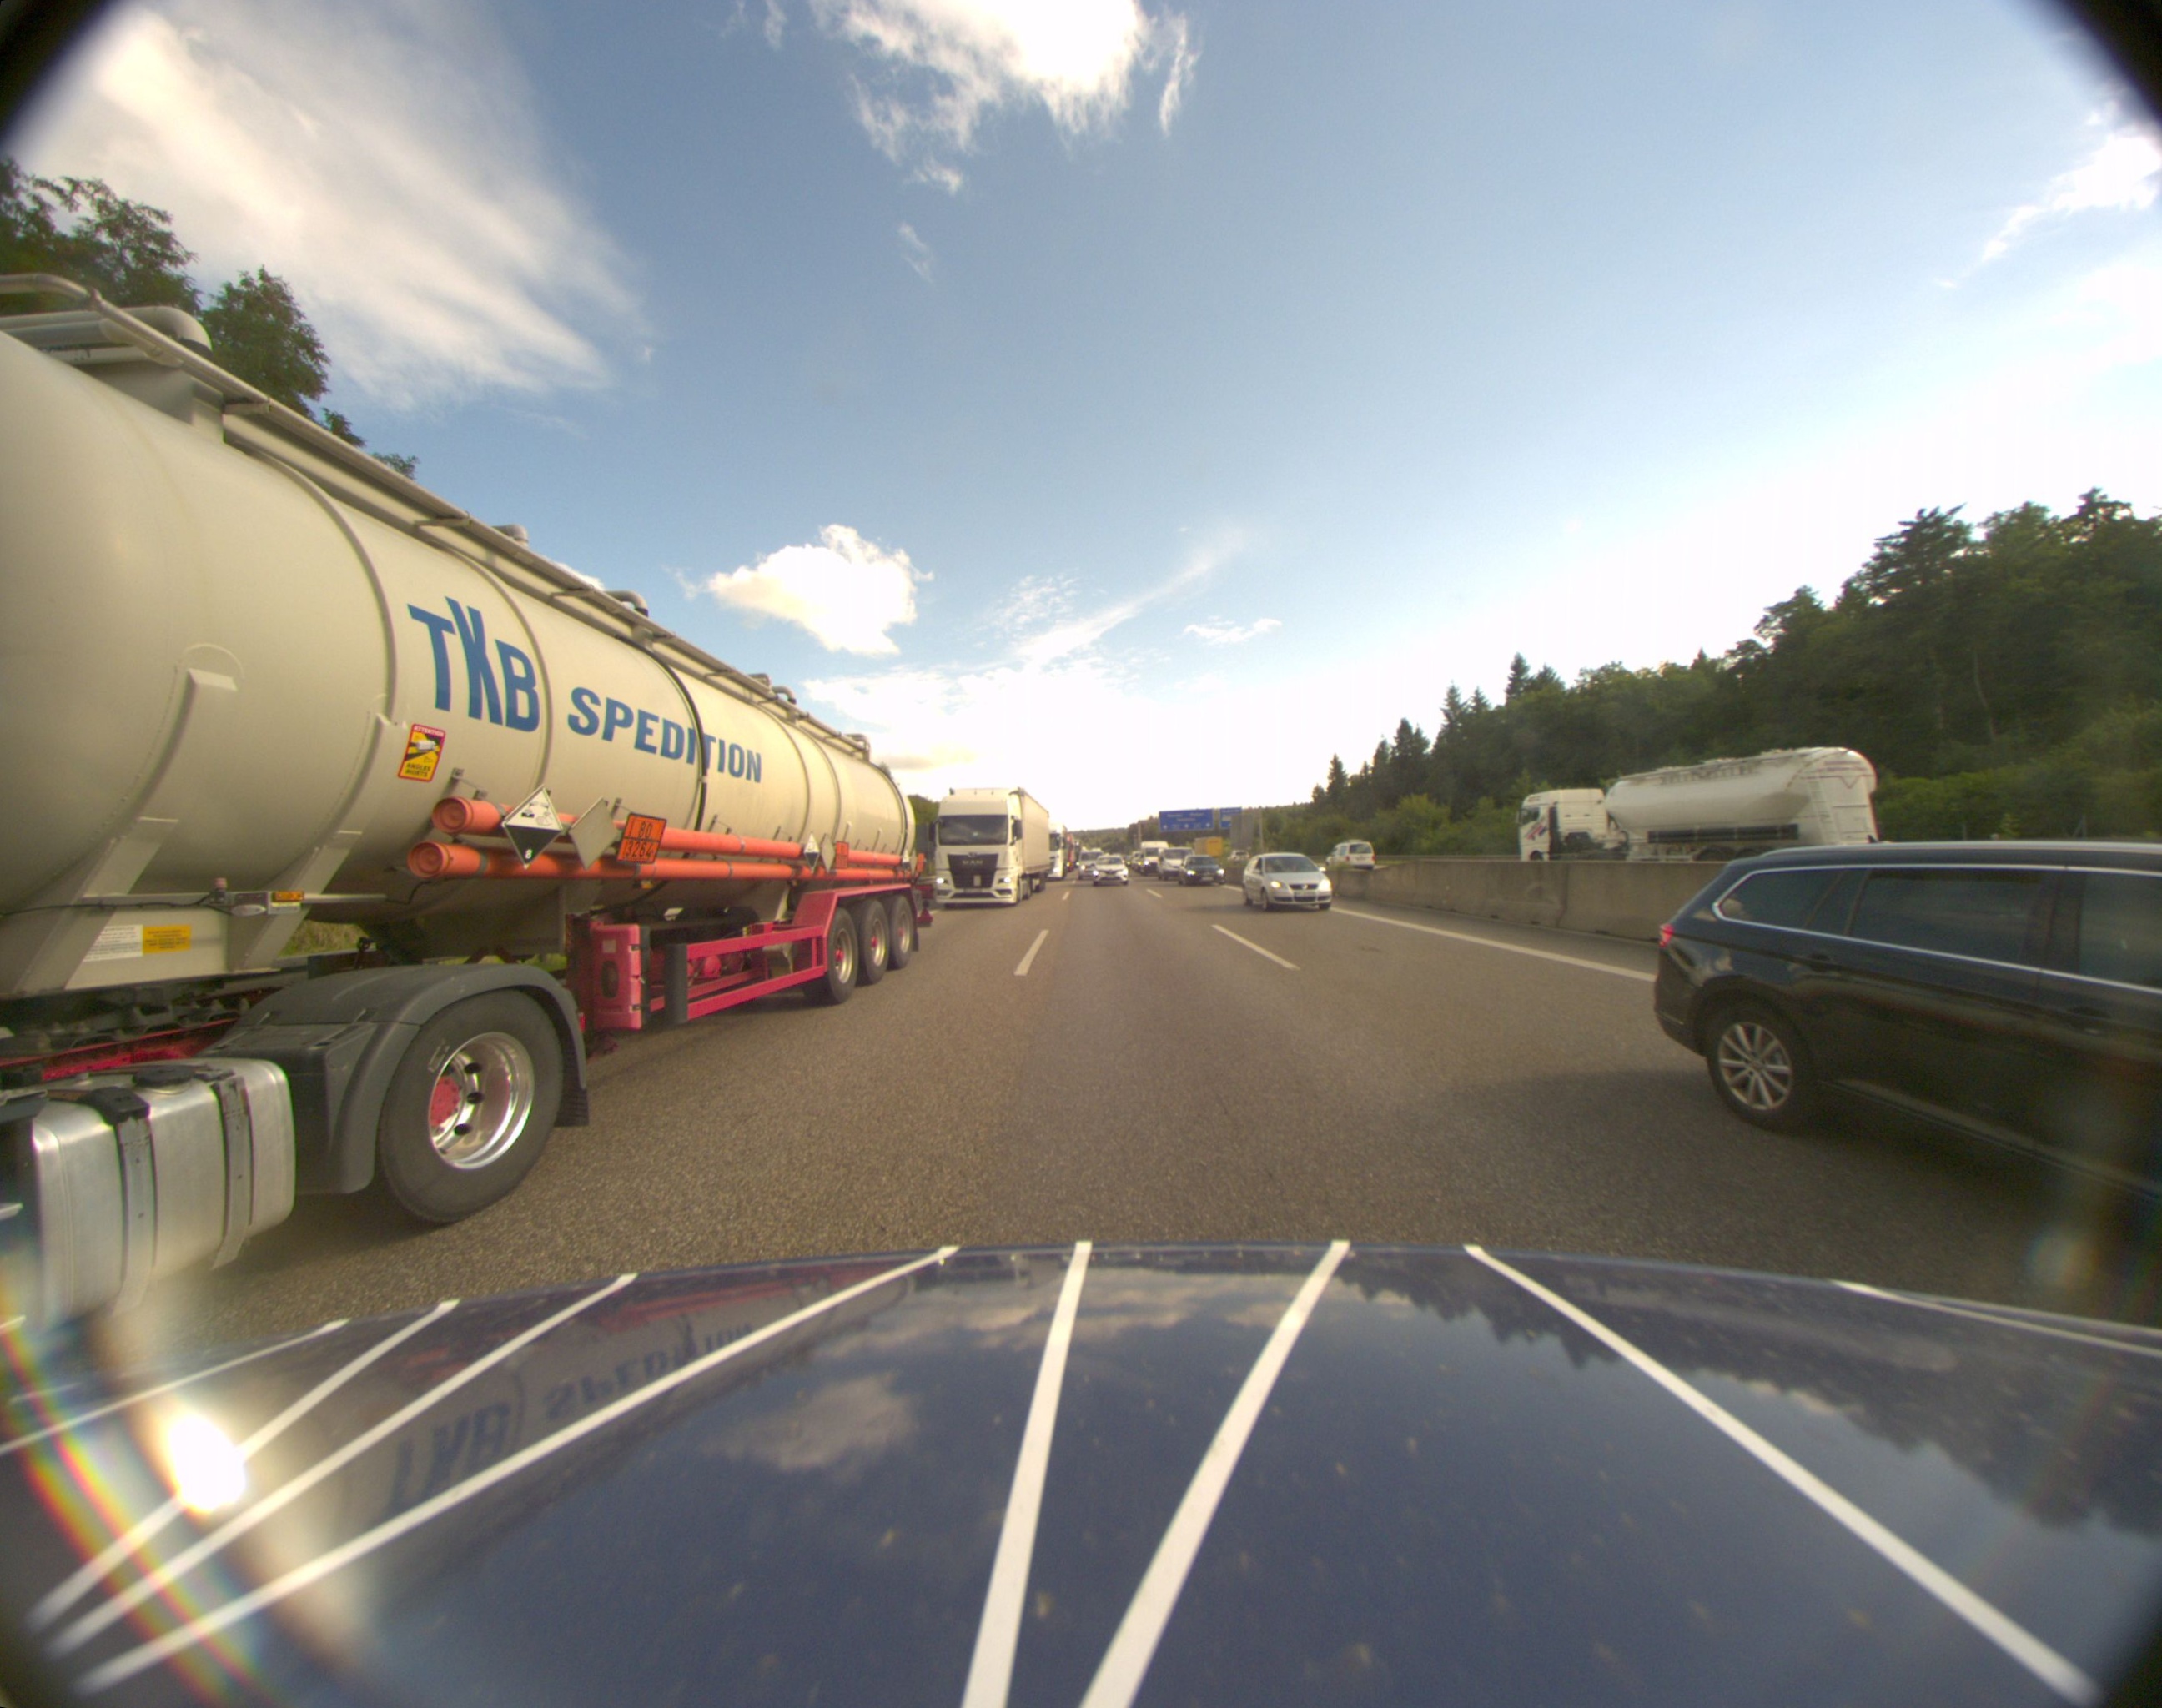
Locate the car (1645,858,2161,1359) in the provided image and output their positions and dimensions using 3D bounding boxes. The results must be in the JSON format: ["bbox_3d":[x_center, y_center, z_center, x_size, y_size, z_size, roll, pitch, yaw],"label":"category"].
[{"bbox_3d":[4.271,0.797,2.283,1.915,1.469,4.569,-2,0,3],"label":"car"}]

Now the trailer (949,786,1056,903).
[{"bbox_3d":[-3.010,-0.380,33.558,2.833,4.047,13.372,-2,0,2],"label":"trailer"}]

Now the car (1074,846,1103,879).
[{"bbox_3d":[0.522,0.539,51.754,1.809,2.052,4.770,-2,0,1],"label":"car"}]

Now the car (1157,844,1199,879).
[{"bbox_3d":[5.807,0.429,46.144,1.947,1.953,4.848,-2,0,1],"label":"car"}]

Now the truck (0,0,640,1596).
[{"bbox_3d":[-3.952,-0.267,1.183,2.809,4.020,5.904,-2,1,2],"label":"truck"}]

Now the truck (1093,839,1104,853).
[{"bbox_3d":[5.516,-2.517,238.866,2.840,4.178,12.045,-2,1,3],"label":"truck"}]

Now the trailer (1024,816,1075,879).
[{"bbox_3d":[-2.199,-0.465,58.405,2.841,4.177,13.613,-2,0,1],"label":"trailer"}]

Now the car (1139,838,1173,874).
[{"bbox_3d":[5.543,0.120,56.961,2.054,2.557,5.861,-1,0,1],"label":"car"}]

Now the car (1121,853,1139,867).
[{"bbox_3d":[5.888,0.724,91.645,1.920,1.535,3.811,-2,0,1],"label":"car"}]

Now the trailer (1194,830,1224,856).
[{"bbox_3d":[21.826,-1.829,130.348,2.841,4.178,13.560,-2,1,0],"label":"trailer"}]

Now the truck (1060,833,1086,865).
[{"bbox_3d":[-1.001,-0.803,108.090,2.840,4.178,12.045,-2,1,3],"label":"truck"}]

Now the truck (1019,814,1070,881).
[{"bbox_3d":[-2.355,-0.421,51.298,2.841,4.177,5.707,-2,0,1],"label":"truck"}]

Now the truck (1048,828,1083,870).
[{"bbox_3d":[-1.570,-0.567,82.511,2.840,4.178,12.045,-2,1,3],"label":"truck"}]

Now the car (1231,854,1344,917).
[{"bbox_3d":[5.419,0.757,20.559,1.809,1.423,4.666,-2,0,1],"label":"car"}]

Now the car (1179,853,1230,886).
[{"bbox_3d":[5.864,0.700,36.439,1.809,1.423,3.994,-2,0,1],"label":"car"}]

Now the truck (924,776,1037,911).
[{"bbox_3d":[-3.231,-0.337,26.068,2.841,4.048,5.707,-2,1,2],"label":"truck"}]

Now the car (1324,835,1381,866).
[{"bbox_3d":[16.279,-0.191,45.803,1.857,1.702,4.323,-2,0,0],"label":"car"}]

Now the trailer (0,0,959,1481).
[{"bbox_3d":[-3.748,-0.302,7.646,2.805,4.003,11.182,-2,0,2],"label":"trailer"}]

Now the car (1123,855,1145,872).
[{"bbox_3d":[4.796,0.841,69.205,1.809,1.423,3.660,-2,0,1],"label":"car"}]

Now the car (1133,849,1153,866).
[{"bbox_3d":[6.726,0.369,82.605,1.920,1.785,3.811,-2,0,1],"label":"car"}]

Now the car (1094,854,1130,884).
[{"bbox_3d":[1.597,0.760,40.627,1.809,1.488,4.666,-2,0,1],"label":"car"}]

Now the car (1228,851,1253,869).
[{"bbox_3d":[17.425,0.619,83.120,1.857,1.799,4.323,-2,0,0],"label":"car"}]

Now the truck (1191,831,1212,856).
[{"bbox_3d":[21.902,-1.912,138.094,2.841,4.178,6.078,-2,1,0],"label":"truck"}]

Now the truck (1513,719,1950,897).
[{"bbox_3d":[20.211,-1.228,25.934,2.940,4.329,13.908,-2,1,0],"label":"truck"}]
